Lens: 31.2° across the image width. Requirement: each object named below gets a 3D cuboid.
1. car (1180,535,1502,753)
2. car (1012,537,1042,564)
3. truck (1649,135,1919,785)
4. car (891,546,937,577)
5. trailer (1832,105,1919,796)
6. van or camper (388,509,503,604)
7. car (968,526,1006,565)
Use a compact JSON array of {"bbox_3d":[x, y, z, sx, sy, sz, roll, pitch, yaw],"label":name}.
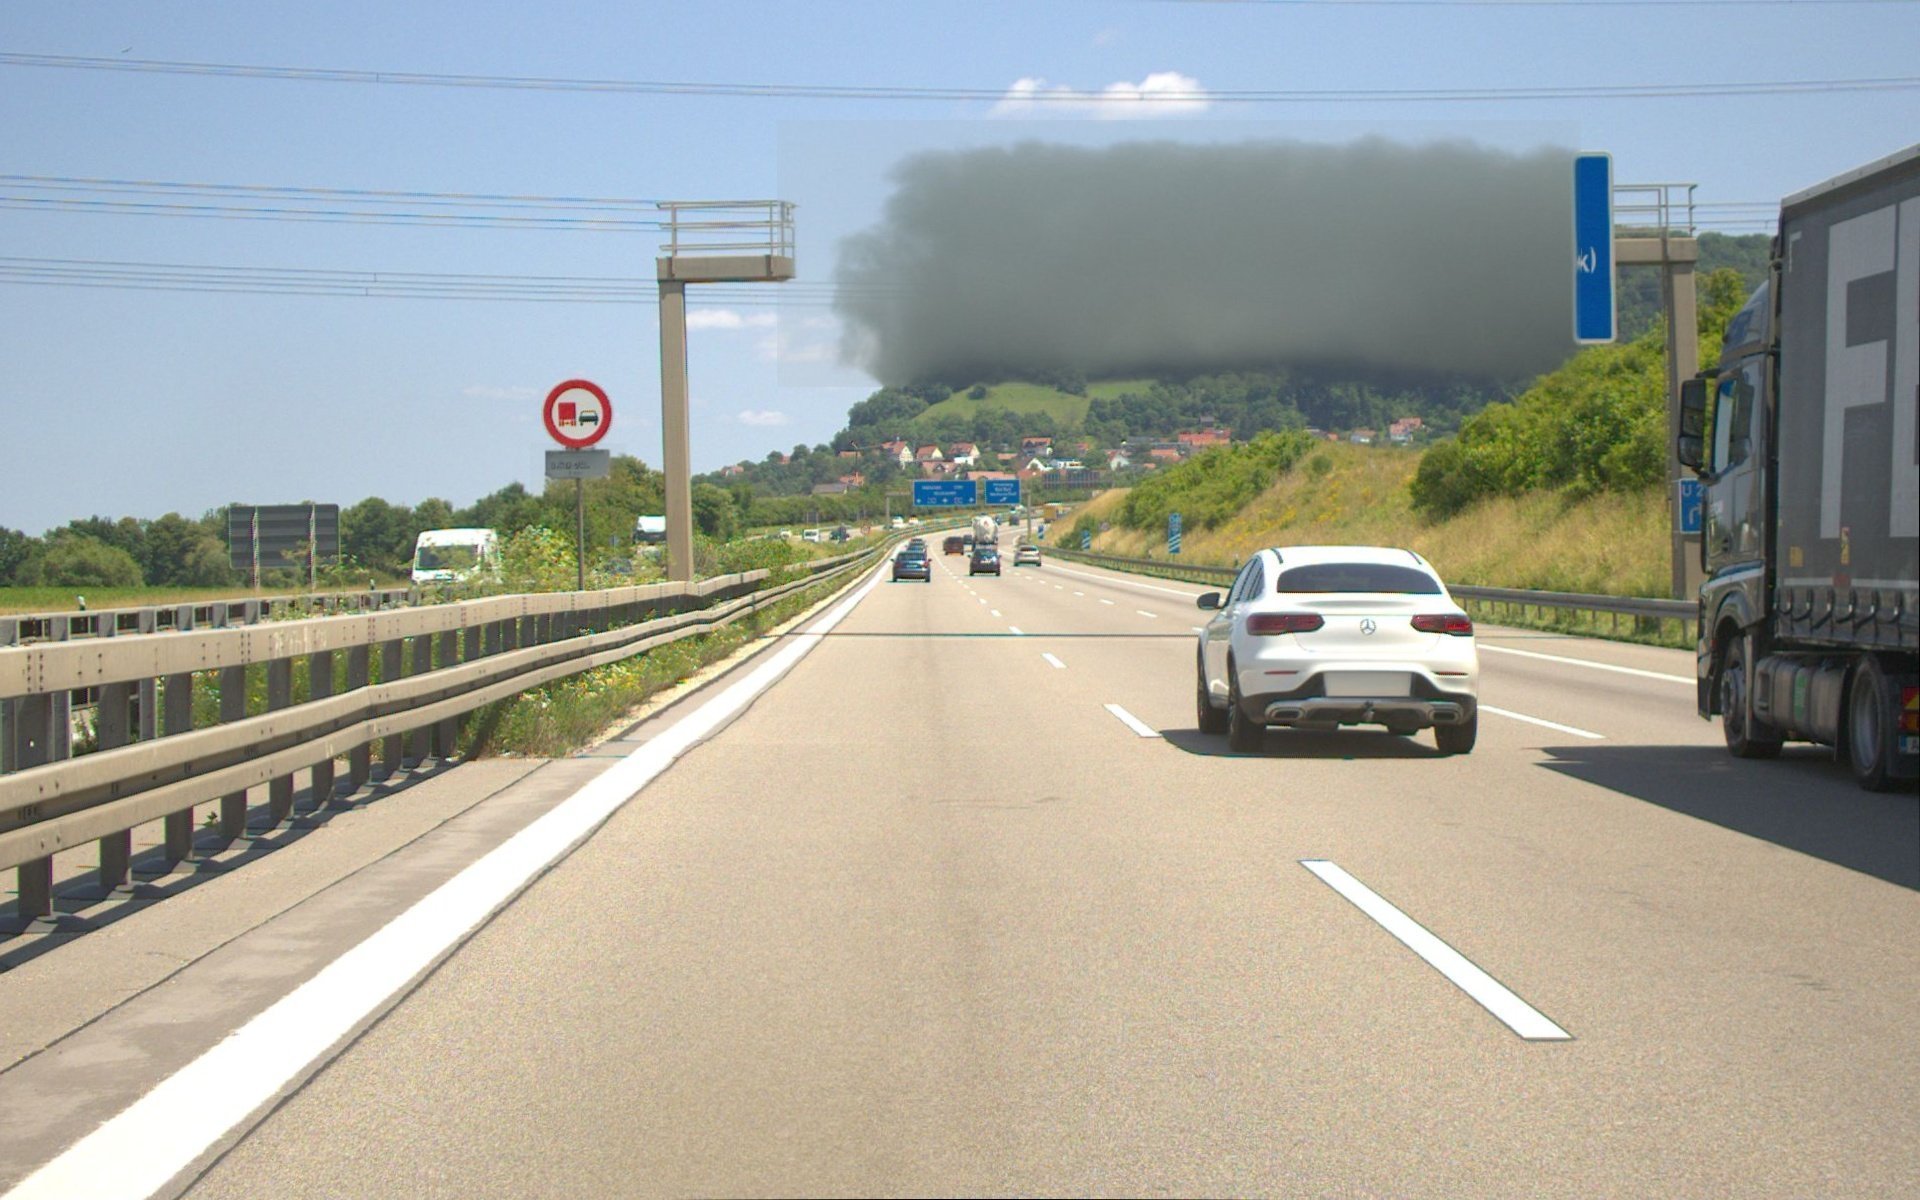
[{"bbox_3d":[2.961,0.299,27.845,1.914,1.575,5.231,1,1,-1],"label":"car"},{"bbox_3d":[4.690,-3.485,242.261,1.993,1.812,4.000,-1,1,0],"label":"car"},{"bbox_3d":[7.057,-0.877,24.626,2.752,4.007,6.789,1,1,-1],"label":"truck"},{"bbox_3d":[-2.040,-1.731,154.543,1.993,1.384,4.000,1,1,0],"label":"car"},{"bbox_3d":[7.151,-0.847,16.547,2.725,4.140,11.809,1,1,-1],"label":"trailer"},{"bbox_3d":[-14.210,-1.196,95.321,2.227,2.500,6.597,1,1,-1],"label":"van or camper"},{"bbox_3d":[1.434,-2.912,184.733,1.993,2.007,4.000,1,1,0],"label":"car"}]
